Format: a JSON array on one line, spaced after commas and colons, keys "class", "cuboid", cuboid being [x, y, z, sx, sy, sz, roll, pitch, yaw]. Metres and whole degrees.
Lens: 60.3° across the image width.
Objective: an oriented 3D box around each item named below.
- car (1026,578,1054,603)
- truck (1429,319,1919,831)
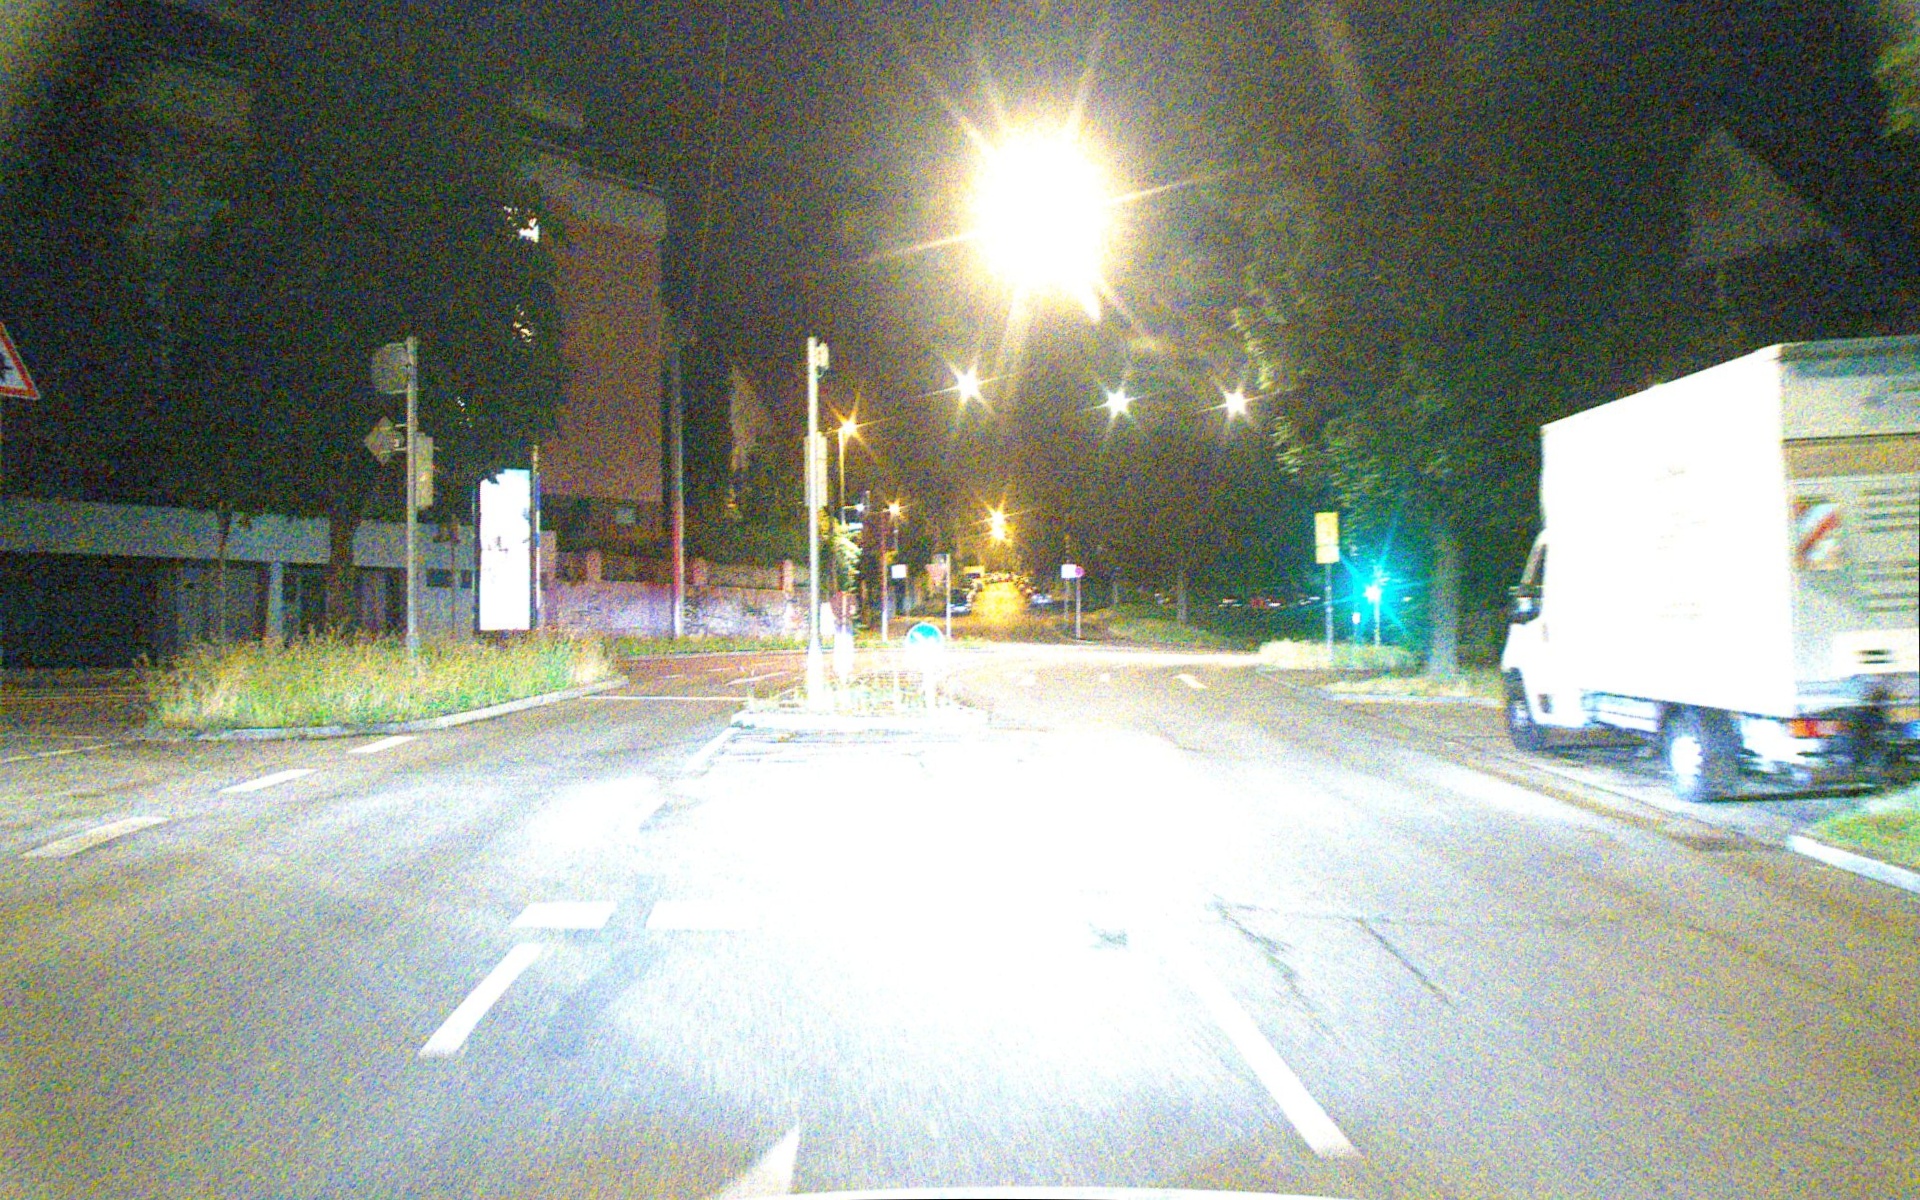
[{"class": "car", "cuboid": [5.906, -0.728, 122.173, 1.952, 1.800, 4.001, 0, 0, 1]}, {"class": "truck", "cuboid": [6.243, -0.190, 13.662, 2.707, 3.097, 7.037, -2, 0, 1]}]
